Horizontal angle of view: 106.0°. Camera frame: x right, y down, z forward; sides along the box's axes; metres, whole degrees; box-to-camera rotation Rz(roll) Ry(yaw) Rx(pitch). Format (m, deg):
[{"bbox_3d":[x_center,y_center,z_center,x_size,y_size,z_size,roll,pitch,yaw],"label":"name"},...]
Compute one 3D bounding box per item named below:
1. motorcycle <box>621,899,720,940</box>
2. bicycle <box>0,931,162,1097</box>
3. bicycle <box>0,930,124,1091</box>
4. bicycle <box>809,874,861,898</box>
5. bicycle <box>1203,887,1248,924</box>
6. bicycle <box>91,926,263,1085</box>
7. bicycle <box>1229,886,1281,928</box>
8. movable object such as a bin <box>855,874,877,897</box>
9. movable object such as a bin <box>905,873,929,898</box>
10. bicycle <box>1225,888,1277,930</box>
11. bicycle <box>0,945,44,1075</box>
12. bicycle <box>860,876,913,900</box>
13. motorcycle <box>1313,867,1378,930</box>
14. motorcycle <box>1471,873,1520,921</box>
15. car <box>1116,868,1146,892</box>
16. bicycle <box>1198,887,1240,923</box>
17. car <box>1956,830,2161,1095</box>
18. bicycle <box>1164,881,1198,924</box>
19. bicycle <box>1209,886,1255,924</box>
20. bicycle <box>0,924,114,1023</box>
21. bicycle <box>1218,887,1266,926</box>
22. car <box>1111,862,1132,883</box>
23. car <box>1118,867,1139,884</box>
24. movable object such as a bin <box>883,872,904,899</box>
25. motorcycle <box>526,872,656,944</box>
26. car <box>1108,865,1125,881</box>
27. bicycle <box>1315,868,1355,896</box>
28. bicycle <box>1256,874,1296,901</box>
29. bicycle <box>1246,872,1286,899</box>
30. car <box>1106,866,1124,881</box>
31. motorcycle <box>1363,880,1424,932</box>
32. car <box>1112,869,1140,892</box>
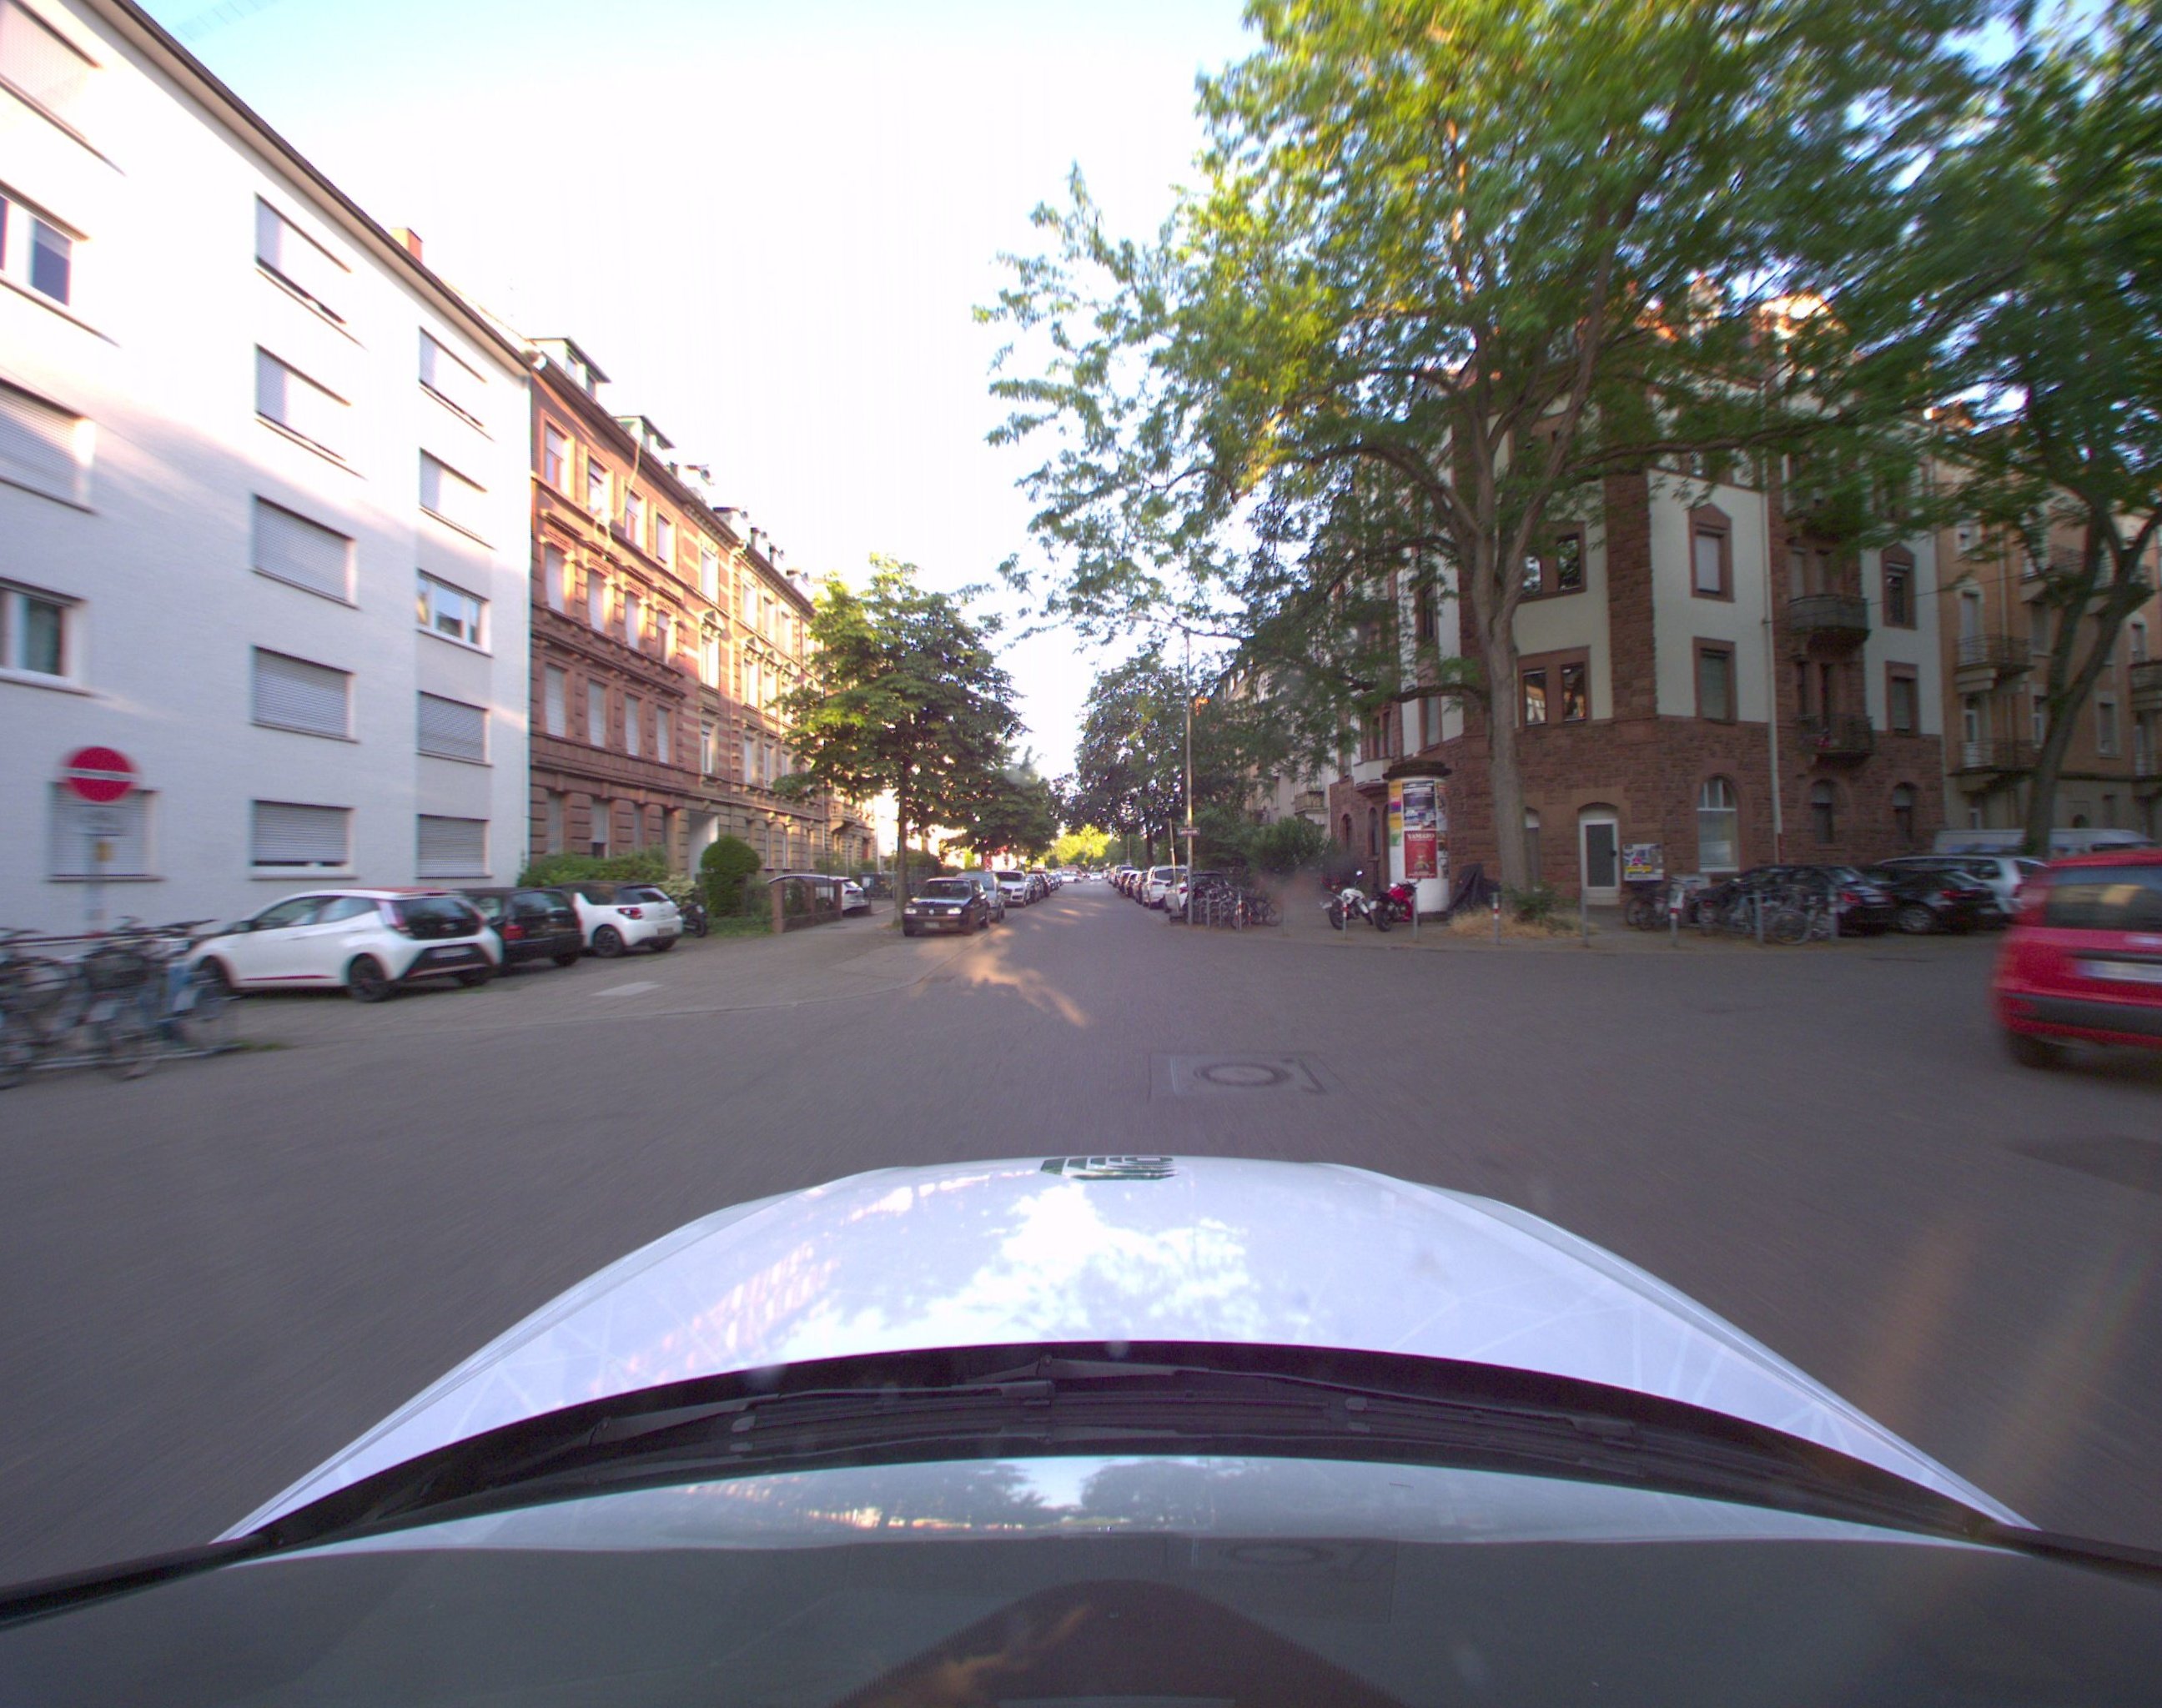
[{"bbox_3d":[-10.082,1.610,20.016,2.222,0.958,0.589,-1,-1,9],"label":"motorcycle"},{"bbox_3d":[-8.716,1.321,7.128,0.243,1.181,1.665,0,-2,-25],"label":"bicycle"},{"bbox_3d":[-8.960,1.302,7.023,0.243,1.181,1.665,0,-2,-25],"label":"bicycle"},{"bbox_3d":[-12.959,1.684,42.901,2.528,1.192,0.641,2,-1,-10],"label":"bicycle"},{"bbox_3d":[4.036,1.429,22.755,1.229,0.948,0.328,-1,0,-22],"label":"bicycle"},{"bbox_3d":[-8.135,1.288,7.418,0.338,1.181,1.862,0,-3,-25],"label":"bicycle"},{"bbox_3d":[4.509,1.369,21.119,1.221,0.988,0.330,-2,0,-3],"label":"bicycle"},{"bbox_3d":[-11.803,1.746,44.706,1.098,1.209,1.000,1,-1,-13],"label":"movable object such as a bin"},{"bbox_3d":[-8.962,1.725,44.513,1.008,1.321,1.006,1,-1,5],"label":"movable object such as a bin"},{"bbox_3d":[4.313,1.399,20.742,1.221,0.987,0.330,-2,0,-2],"label":"bicycle"},{"bbox_3d":[-9.525,1.383,6.741,0.368,1.109,1.836,0,-2,-25],"label":"bicycle"},{"bbox_3d":[-10.040,1.750,42.066,2.515,1.192,0.644,2,-1,6],"label":"bicycle"},{"bbox_3d":[6.585,1.064,20.189,0.578,1.408,2.226,-2,0,44],"label":"motorcycle"},{"bbox_3d":[10.476,1.068,20.549,2.123,1.079,0.432,-1,0,-45],"label":"motorcycle"},{"bbox_3d":[3.422,1.793,55.991,1.682,1.606,3.936,-1,-2,-2],"label":"car"},{"bbox_3d":[3.964,1.445,23.368,1.231,0.951,0.327,-1,0,-27],"label":"bicycle"},{"bbox_3d":[8.053,0.609,5.518,3.477,1.573,1.616,-1,0,-19],"label":"car"},{"bbox_3d":[2.916,1.396,23.594,0.439,1.173,1.645,-2,-2,26],"label":"bicycle"},{"bbox_3d":[4.096,1.379,22.055,1.229,0.957,0.328,-1,0,-22],"label":"bicycle"},{"bbox_3d":[-12.675,1.423,9.542,0.394,1.062,1.878,-1,-1,2],"label":"bicycle"},{"bbox_3d":[4.282,1.395,21.662,1.227,0.963,0.328,-1,0,-17],"label":"bicycle"},{"bbox_3d":[3.790,1.740,76.291,1.676,1.941,3.877,-1,-2,-2],"label":"car"},{"bbox_3d":[4.181,1.911,72.562,1.534,1.521,3.428,-1,-2,-2],"label":"car"},{"bbox_3d":[-10.197,1.704,44.348,1.098,1.414,1.000,1,-1,-13],"label":"movable object such as a bin"},{"bbox_3d":[-11.602,1.263,19.285,2.835,1.638,0.676,-1,-2,8],"label":"motorcycle"},{"bbox_3d":[4.173,2.280,96.892,1.682,1.811,3.936,-1,-2,-2],"label":"car"},{"bbox_3d":[10.285,1.132,32.997,1.505,1.034,0.330,-2,0,-2],"label":"bicycle"},{"bbox_3d":[7.855,1.338,32.779,1.505,1.034,0.330,-2,0,-2],"label":"bicycle"},{"bbox_3d":[7.569,1.297,33.300,1.505,1.034,0.330,-2,0,-2],"label":"bicycle"},{"bbox_3d":[3.803,2.151,90.736,1.682,1.606,3.936,-1,-2,-2],"label":"car"},{"bbox_3d":[7.404,1.204,19.244,2.225,1.079,0.432,-1,0,-45],"label":"motorcycle"},{"bbox_3d":[3.286,1.955,60.312,1.682,1.606,3.936,-1,-2,-2],"label":"car"}]
